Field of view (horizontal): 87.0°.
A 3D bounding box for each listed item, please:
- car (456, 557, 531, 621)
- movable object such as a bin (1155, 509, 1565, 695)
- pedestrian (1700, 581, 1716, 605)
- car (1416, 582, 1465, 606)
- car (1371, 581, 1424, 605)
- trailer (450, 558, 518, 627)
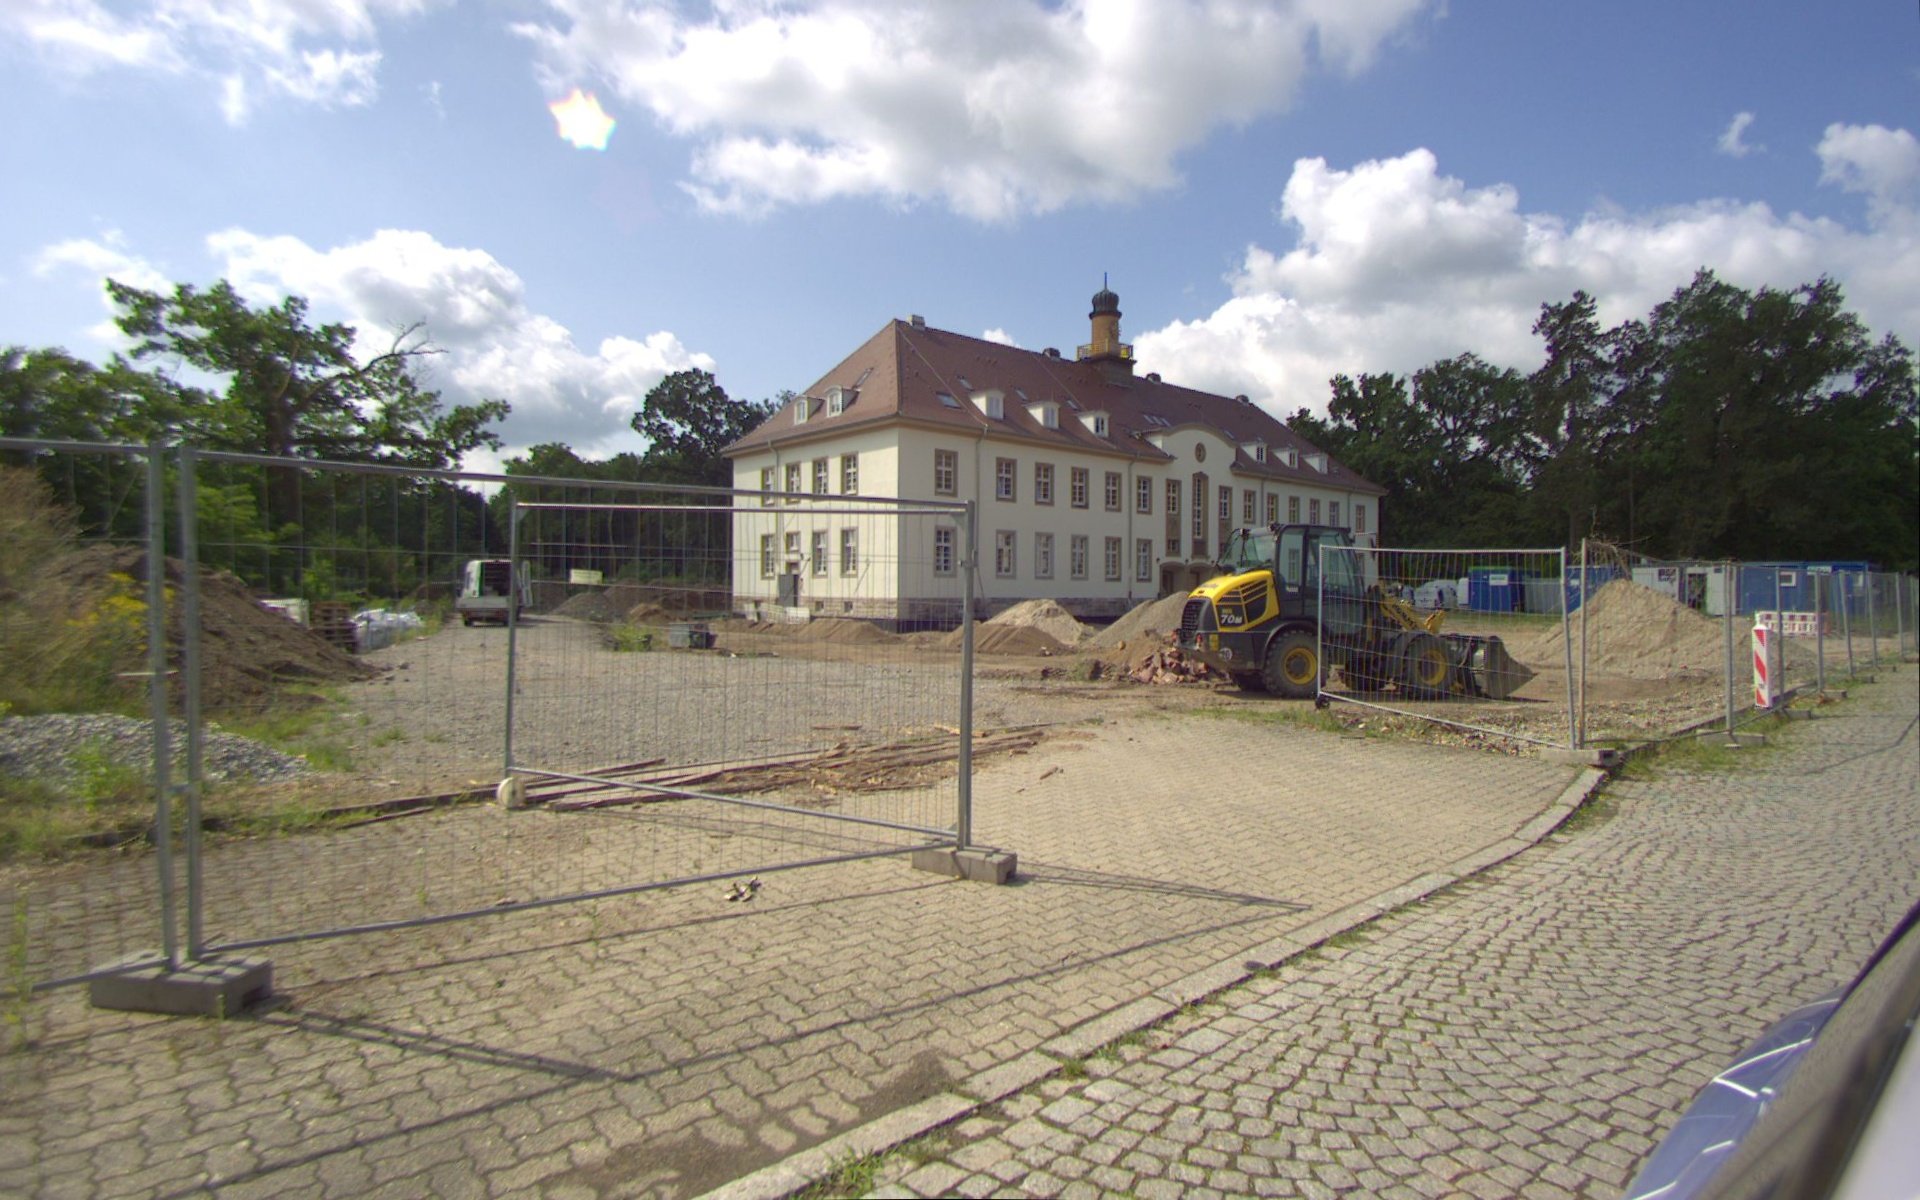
[{"bbox_3d":[-20.577,-0.498,44.484,2.203,2.623,5.441,0,1,-33],"label":"car"},{"bbox_3d":[6.047,0.059,15.515,5.537,2.553,2.154,1,0,-13],"label":"movable object such as a bin"},{"bbox_3d":[39.333,-0.363,53.218,0.671,1.258,0.601,0,0,-43],"label":"pedestrian"},{"bbox_3d":[35.347,-0.486,74.371,3.969,1.704,1.801,-1,1,-41],"label":"car"},{"bbox_3d":[33.175,-0.558,76.680,4.625,1.749,1.883,-1,1,-41],"label":"car"},{"bbox_3d":[-18.544,-0.320,39.631,1.920,2.503,4.855,0,1,-19],"label":"trailer"}]
